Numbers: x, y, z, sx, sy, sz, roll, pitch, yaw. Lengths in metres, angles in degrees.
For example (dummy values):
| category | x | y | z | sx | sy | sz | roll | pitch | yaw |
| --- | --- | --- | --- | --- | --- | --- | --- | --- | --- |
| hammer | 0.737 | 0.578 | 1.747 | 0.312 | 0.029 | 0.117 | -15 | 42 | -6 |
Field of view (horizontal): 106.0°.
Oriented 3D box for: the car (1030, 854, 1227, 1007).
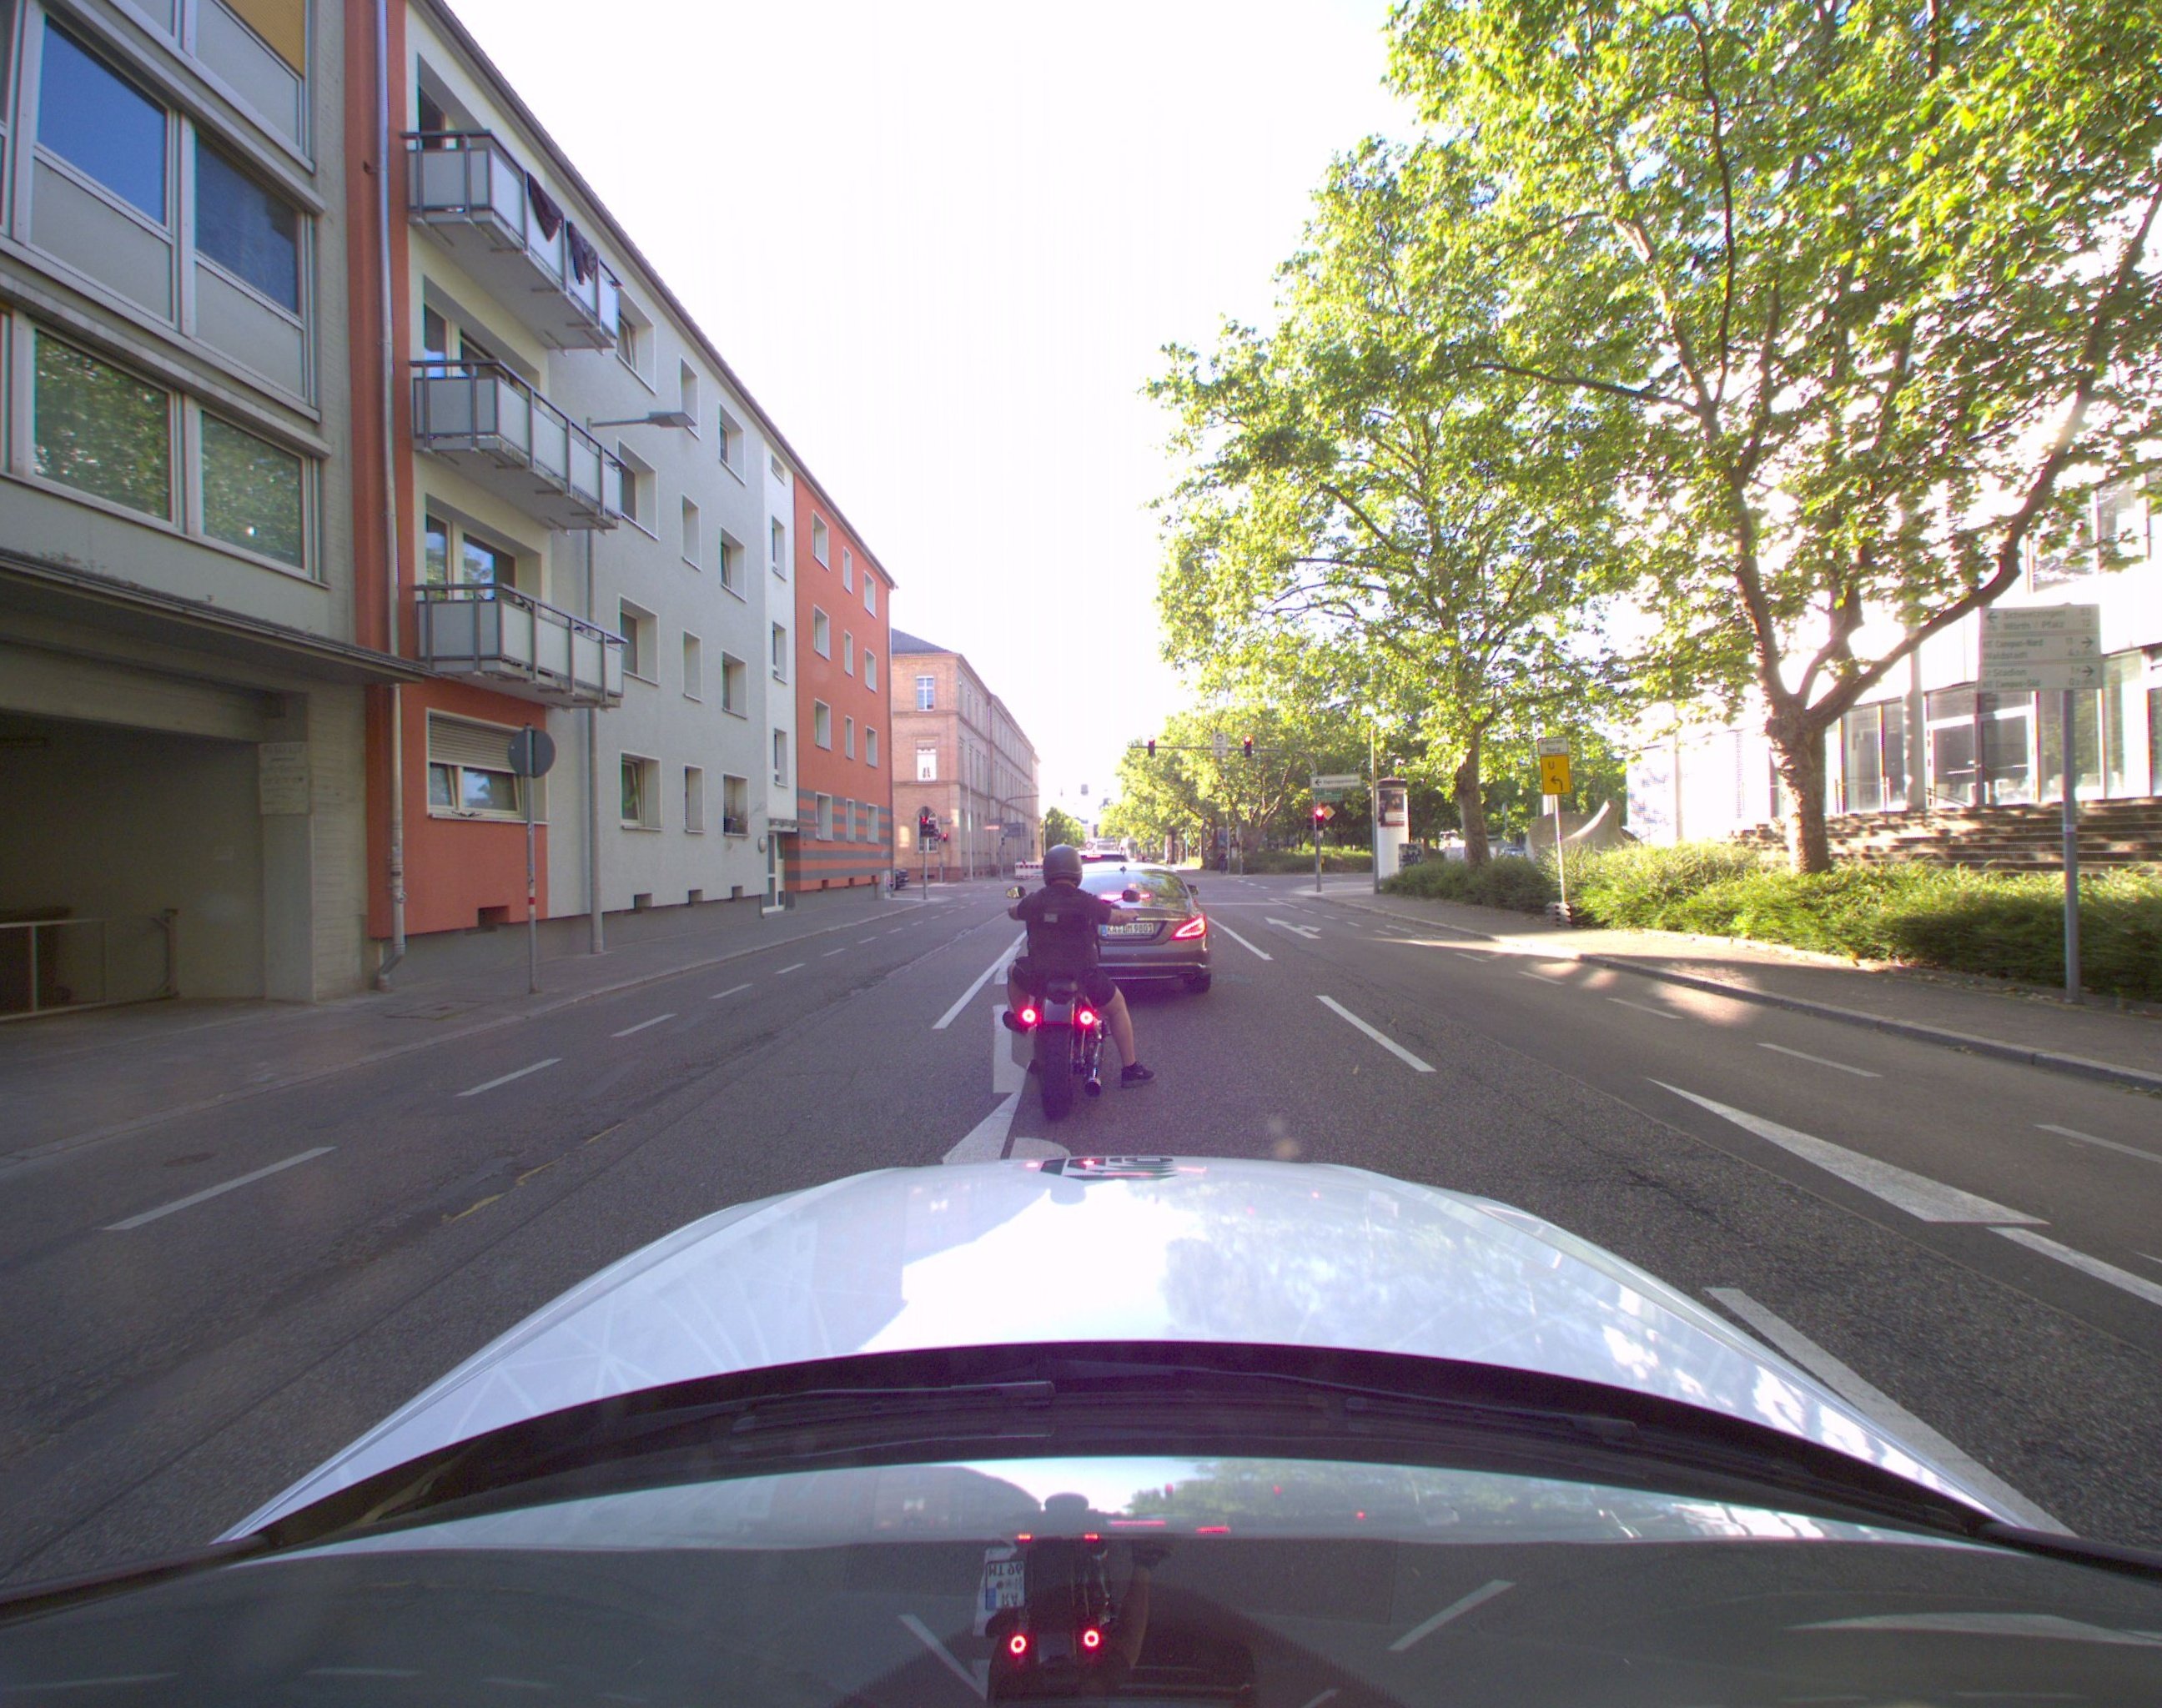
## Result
| category | x | y | z | sx | sy | sz | roll | pitch | yaw |
| --- | --- | --- | --- | --- | --- | --- | --- | --- | --- |
| car | 0.515 | 0.739 | 9.732 | 1.875 | 1.449 | 3.821 | 0 | 0 | 2 |

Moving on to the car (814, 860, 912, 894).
| category | x | y | z | sx | sy | sz | roll | pitch | yaw |
| --- | --- | --- | --- | --- | --- | --- | --- | --- | --- |
| car | -10.693 | 1.118 | 40.171 | 4.364 | 1.570 | 1.852 | 0 | -1 | -6 |

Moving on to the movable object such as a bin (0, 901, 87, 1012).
| category | x | y | z | sx | sy | sz | roll | pitch | yaw |
| --- | --- | --- | --- | --- | --- | --- | --- | --- | --- |
| movable object such as a bin | -11.259 | 1.063 | 8.637 | 0.626 | 1.100 | 0.659 | 0 | -1 | 4 |

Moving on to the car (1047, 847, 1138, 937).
| category | x | y | z | sx | sy | sz | roll | pitch | yaw |
| --- | --- | --- | --- | --- | --- | --- | --- | --- | --- |
| car | 0.274 | 0.692 | 16.861 | 1.615 | 1.594 | 4.002 | -1 | 0 | 2 |

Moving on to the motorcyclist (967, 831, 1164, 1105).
| category | x | y | z | sx | sy | sz | roll | pitch | yaw |
| --- | --- | --- | --- | --- | --- | --- | --- | --- | --- |
| motorcyclist | -0.074 | 0.671 | 5.416 | 1.145 | 1.598 | 1.288 | 0 | -1 | 1 |

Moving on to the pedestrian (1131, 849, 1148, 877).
| category | x | y | z | sx | sy | sz | roll | pitch | yaw |
| --- | --- | --- | --- | --- | --- | --- | --- | --- | --- |
| pedestrian | 3.776 | 0.584 | 52.642 | 0.996 | 1.826 | 1.078 | 0 | -1 | 8 |

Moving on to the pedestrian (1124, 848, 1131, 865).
| category | x | y | z | sx | sy | sz | roll | pitch | yaw |
| --- | --- | --- | --- | --- | --- | --- | --- | --- | --- |
| pedestrian | 5.752 | 0.276 | 100.926 | 0.761 | 2.051 | 0.712 | 0 | -1 | 1 |

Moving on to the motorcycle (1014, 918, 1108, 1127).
| category | x | y | z | sx | sy | sz | roll | pitch | yaw |
| --- | --- | --- | --- | --- | --- | --- | --- | --- | --- |
| motorcycle | -0.077 | 1.004 | 5.482 | 0.511 | 1.002 | 2.014 | 0 | -1 | 2 |

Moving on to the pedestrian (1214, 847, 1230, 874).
| category | x | y | z | sx | sy | sz | roll | pitch | yaw |
| --- | --- | --- | --- | --- | --- | --- | --- | --- | --- |
| pedestrian | 10.278 | 0.479 | 59.537 | 0.753 | 1.910 | 0.918 | 0 | -1 | -26 |
